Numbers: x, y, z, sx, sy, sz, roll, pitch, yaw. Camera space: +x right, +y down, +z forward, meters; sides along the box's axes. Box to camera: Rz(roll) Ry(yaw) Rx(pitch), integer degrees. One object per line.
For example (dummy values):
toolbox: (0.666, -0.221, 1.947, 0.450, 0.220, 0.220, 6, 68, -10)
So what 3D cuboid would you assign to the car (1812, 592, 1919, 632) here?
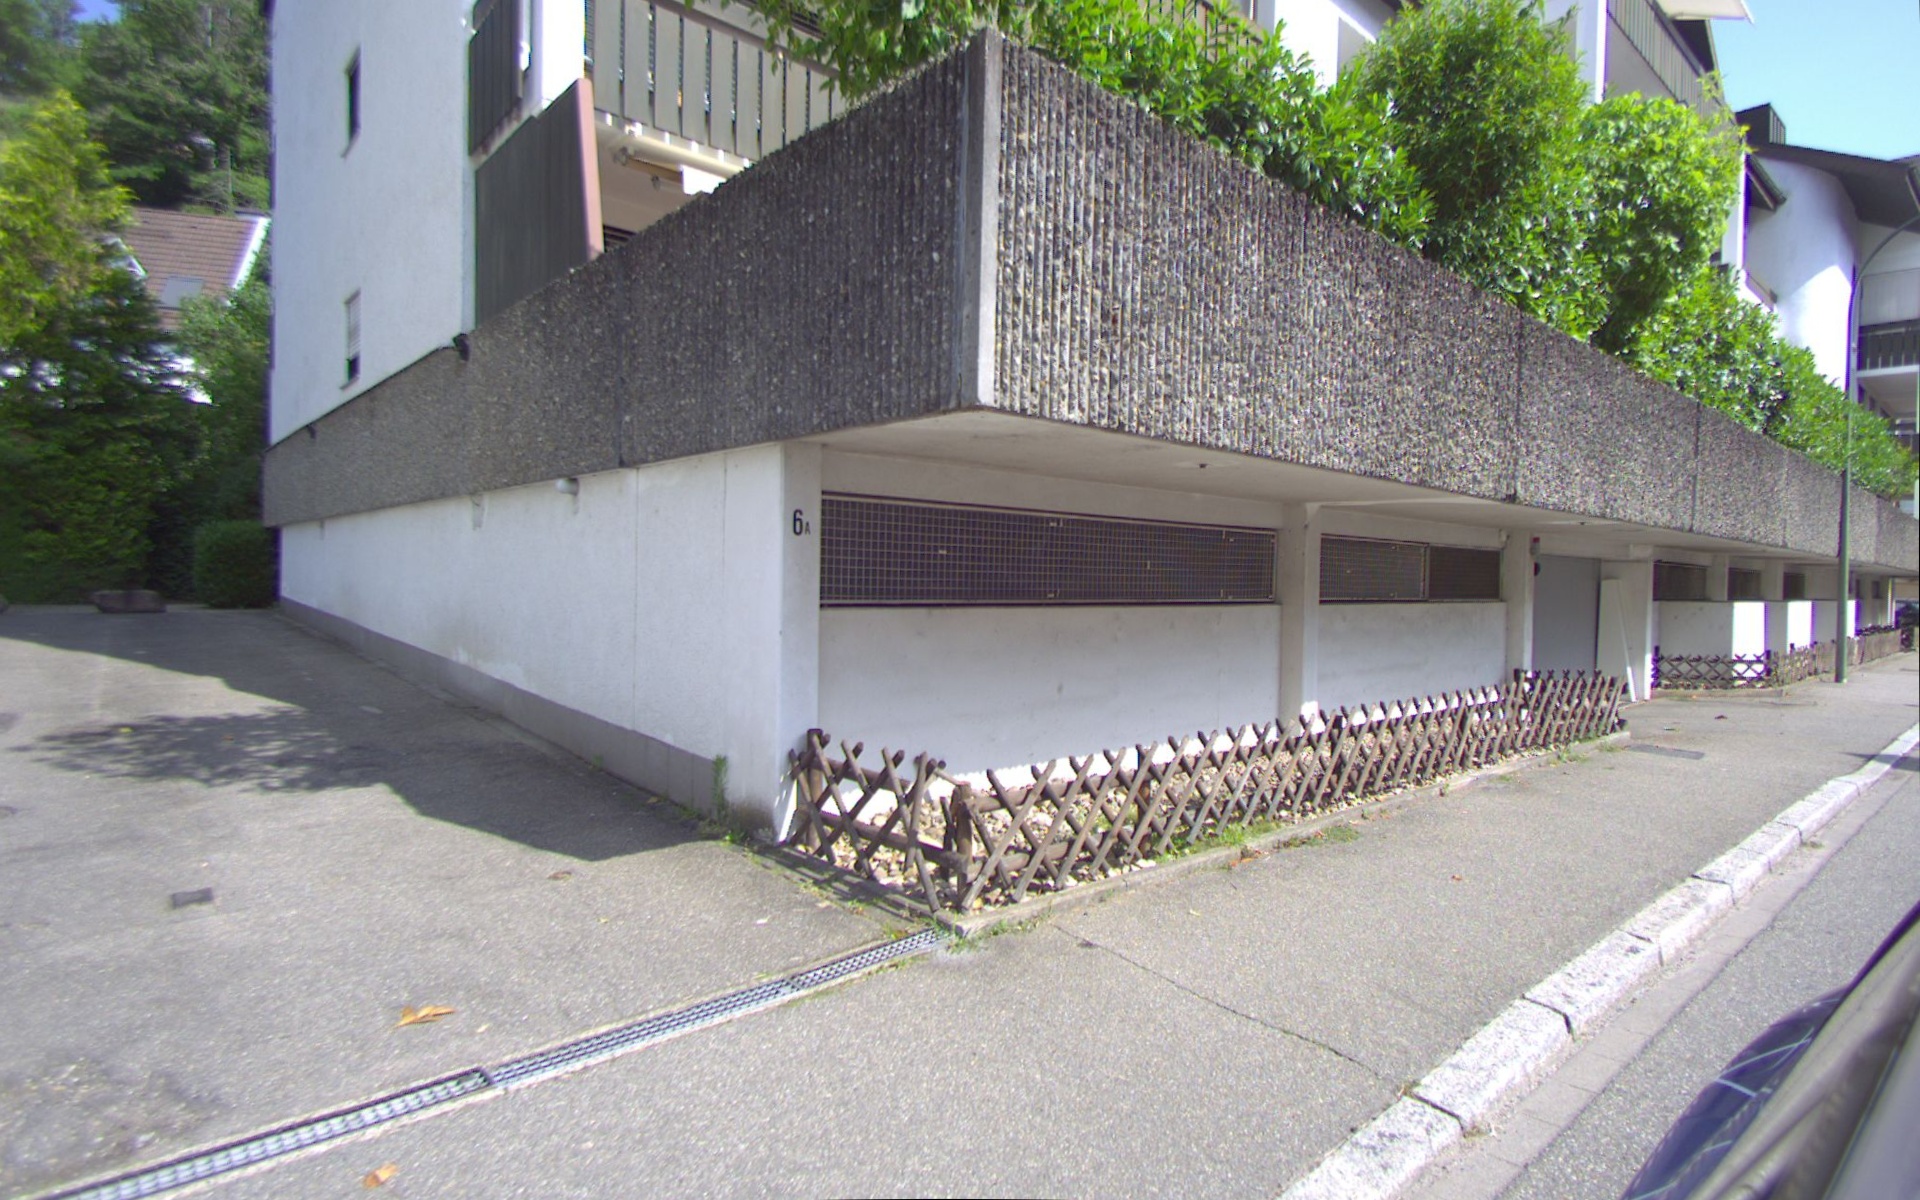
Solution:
car: (35.569, 0.440, 39.165, 1.672, 1.498, 3.830, 1, -1, -43)
